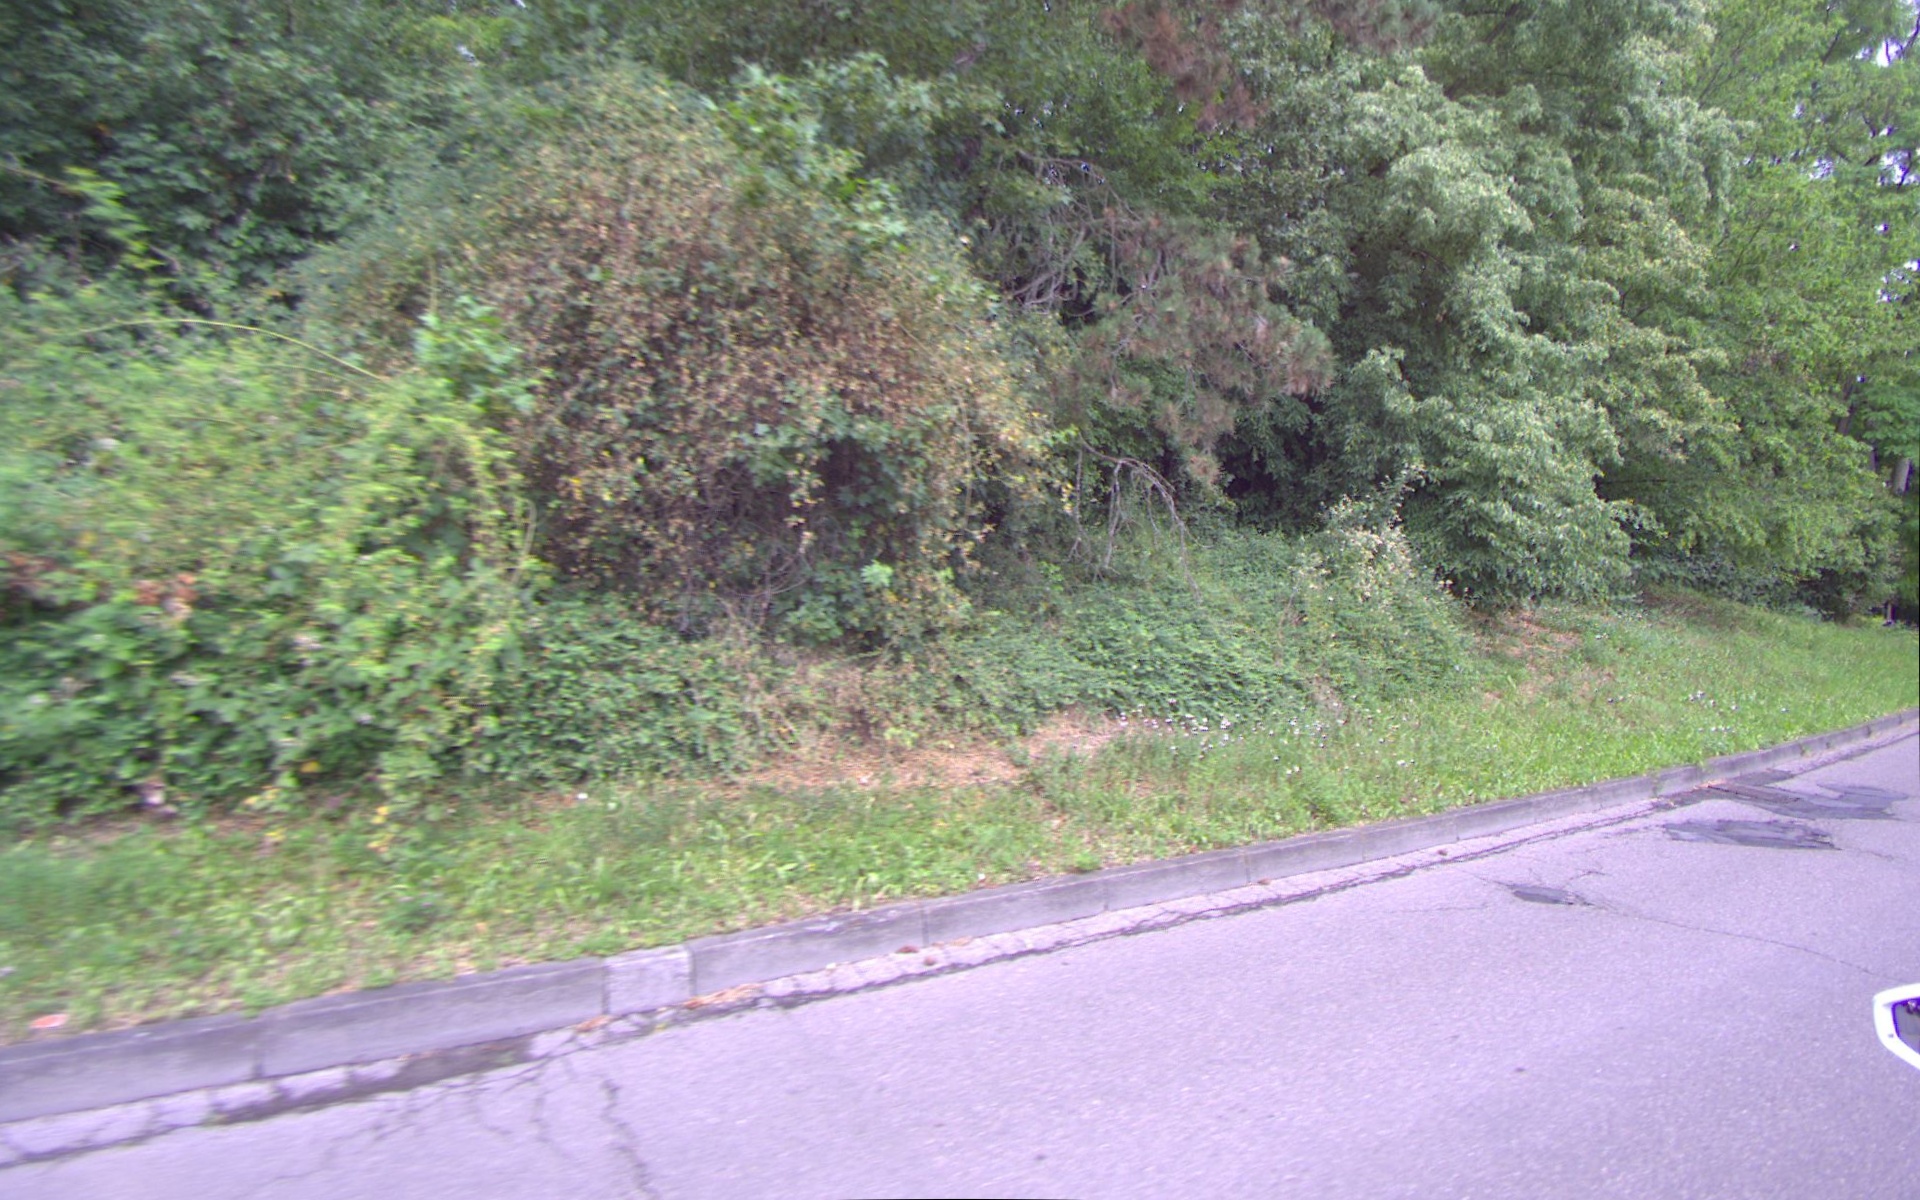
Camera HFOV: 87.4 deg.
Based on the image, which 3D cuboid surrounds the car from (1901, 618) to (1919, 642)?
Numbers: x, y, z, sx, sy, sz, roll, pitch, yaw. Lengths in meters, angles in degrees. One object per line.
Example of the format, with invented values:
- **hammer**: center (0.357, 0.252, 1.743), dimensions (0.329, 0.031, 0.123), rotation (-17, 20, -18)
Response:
- **car**: center (58.544, 1.834, 60.392), dimensions (1.690, 1.450, 3.946), rotation (1, -1, 25)

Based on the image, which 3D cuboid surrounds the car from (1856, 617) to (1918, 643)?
- **car**: center (61.399, 2.004, 66.599), dimensions (1.687, 1.529, 4.179), rotation (4, 0, 24)
